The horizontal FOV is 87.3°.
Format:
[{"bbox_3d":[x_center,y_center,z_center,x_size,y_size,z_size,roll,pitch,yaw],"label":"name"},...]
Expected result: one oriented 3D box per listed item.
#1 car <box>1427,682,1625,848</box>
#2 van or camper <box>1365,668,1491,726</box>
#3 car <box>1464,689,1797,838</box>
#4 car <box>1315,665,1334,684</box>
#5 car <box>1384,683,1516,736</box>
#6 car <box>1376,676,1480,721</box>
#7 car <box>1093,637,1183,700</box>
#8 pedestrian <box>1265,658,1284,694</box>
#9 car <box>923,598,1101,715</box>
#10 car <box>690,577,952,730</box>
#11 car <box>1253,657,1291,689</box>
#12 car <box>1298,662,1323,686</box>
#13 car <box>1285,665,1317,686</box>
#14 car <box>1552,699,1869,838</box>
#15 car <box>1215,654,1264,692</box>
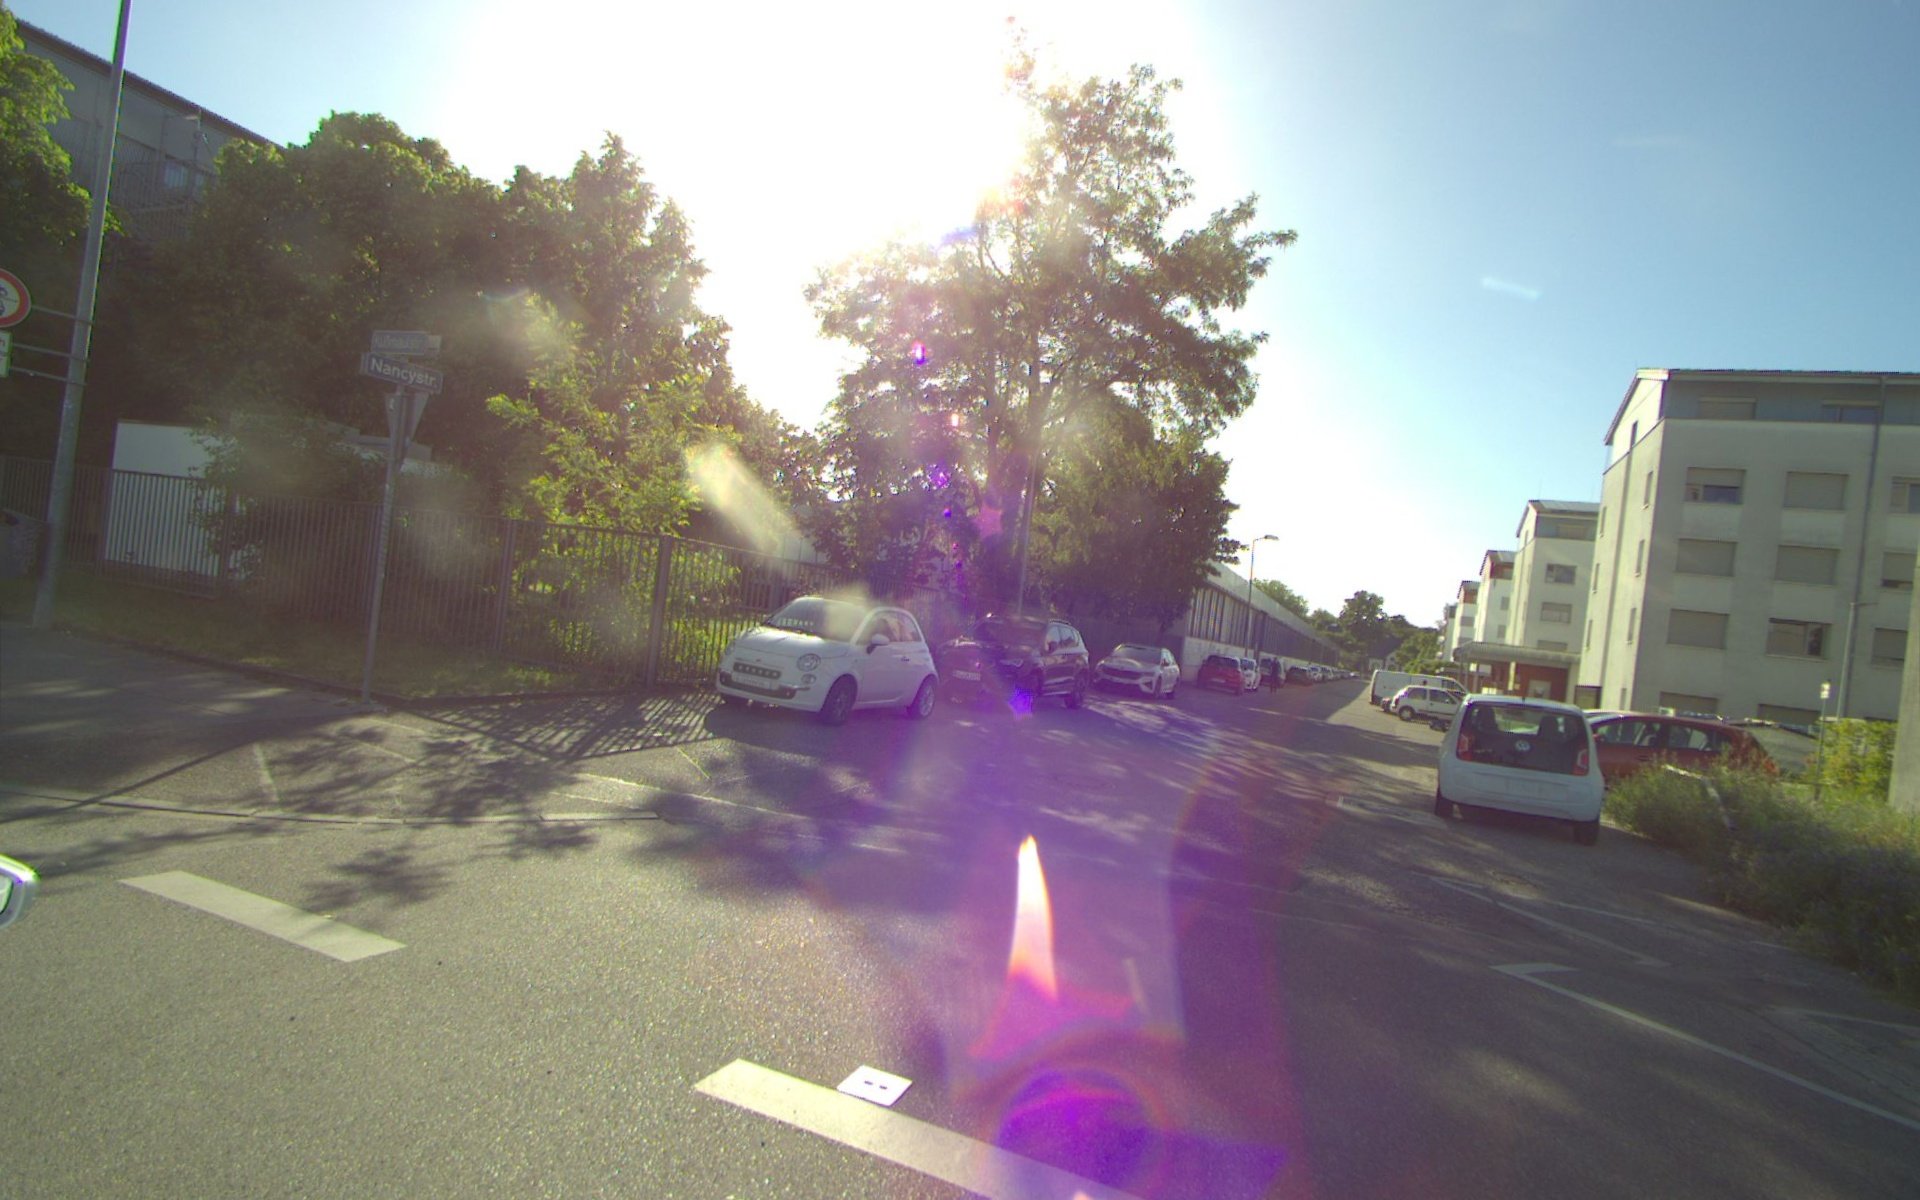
[{"bbox_3d":[6.734,1.848,12.198,1.684,1.476,3.335,7,-1,27],"label":"car"},{"bbox_3d":[22.414,4.616,48.364,5.201,1.981,1.999,7,-1,25],"label":"van or camper"},{"bbox_3d":[10.239,2.452,15.752,3.927,1.488,1.698,7,0,23],"label":"car"},{"bbox_3d":[44.088,8.971,121.731,1.963,2.038,4.001,7,-1,20],"label":"car"},{"bbox_3d":[19.535,4.335,40.348,4.517,1.365,2.000,7,-1,22],"label":"car"},{"bbox_3d":[20.932,4.404,45.195,4.013,1.365,1.763,7,-1,22],"label":"car"},{"bbox_3d":[5.125,1.938,28.557,1.680,1.454,4.001,7,-1,21],"label":"car"},{"bbox_3d":[15.368,3.698,49.152,0.656,1.681,0.486,7,0,23],"label":"pedestrian"},{"bbox_3d":[1.080,1.030,18.101,1.724,1.656,4.166,7,-1,23],"label":"car"},{"bbox_3d":[-1.604,0.691,12.846,1.571,1.503,3.558,7,-1,23],"label":"car"},{"bbox_3d":[19.335,4.500,62.242,1.680,1.689,4.000,7,-1,23],"label":"car"},{"bbox_3d":[33.487,7.065,96.140,1.963,2.038,4.001,7,-1,20],"label":"car"},{"bbox_3d":[27.487,6.076,81.036,1.952,1.454,4.000,7,-1,23],"label":"car"},{"bbox_3d":[12.692,2.799,17.335,3.927,1.539,1.698,7,0,23],"label":"car"},{"bbox_3d":[12.993,3.382,46.606,1.680,1.454,4.001,7,-1,21],"label":"car"}]
